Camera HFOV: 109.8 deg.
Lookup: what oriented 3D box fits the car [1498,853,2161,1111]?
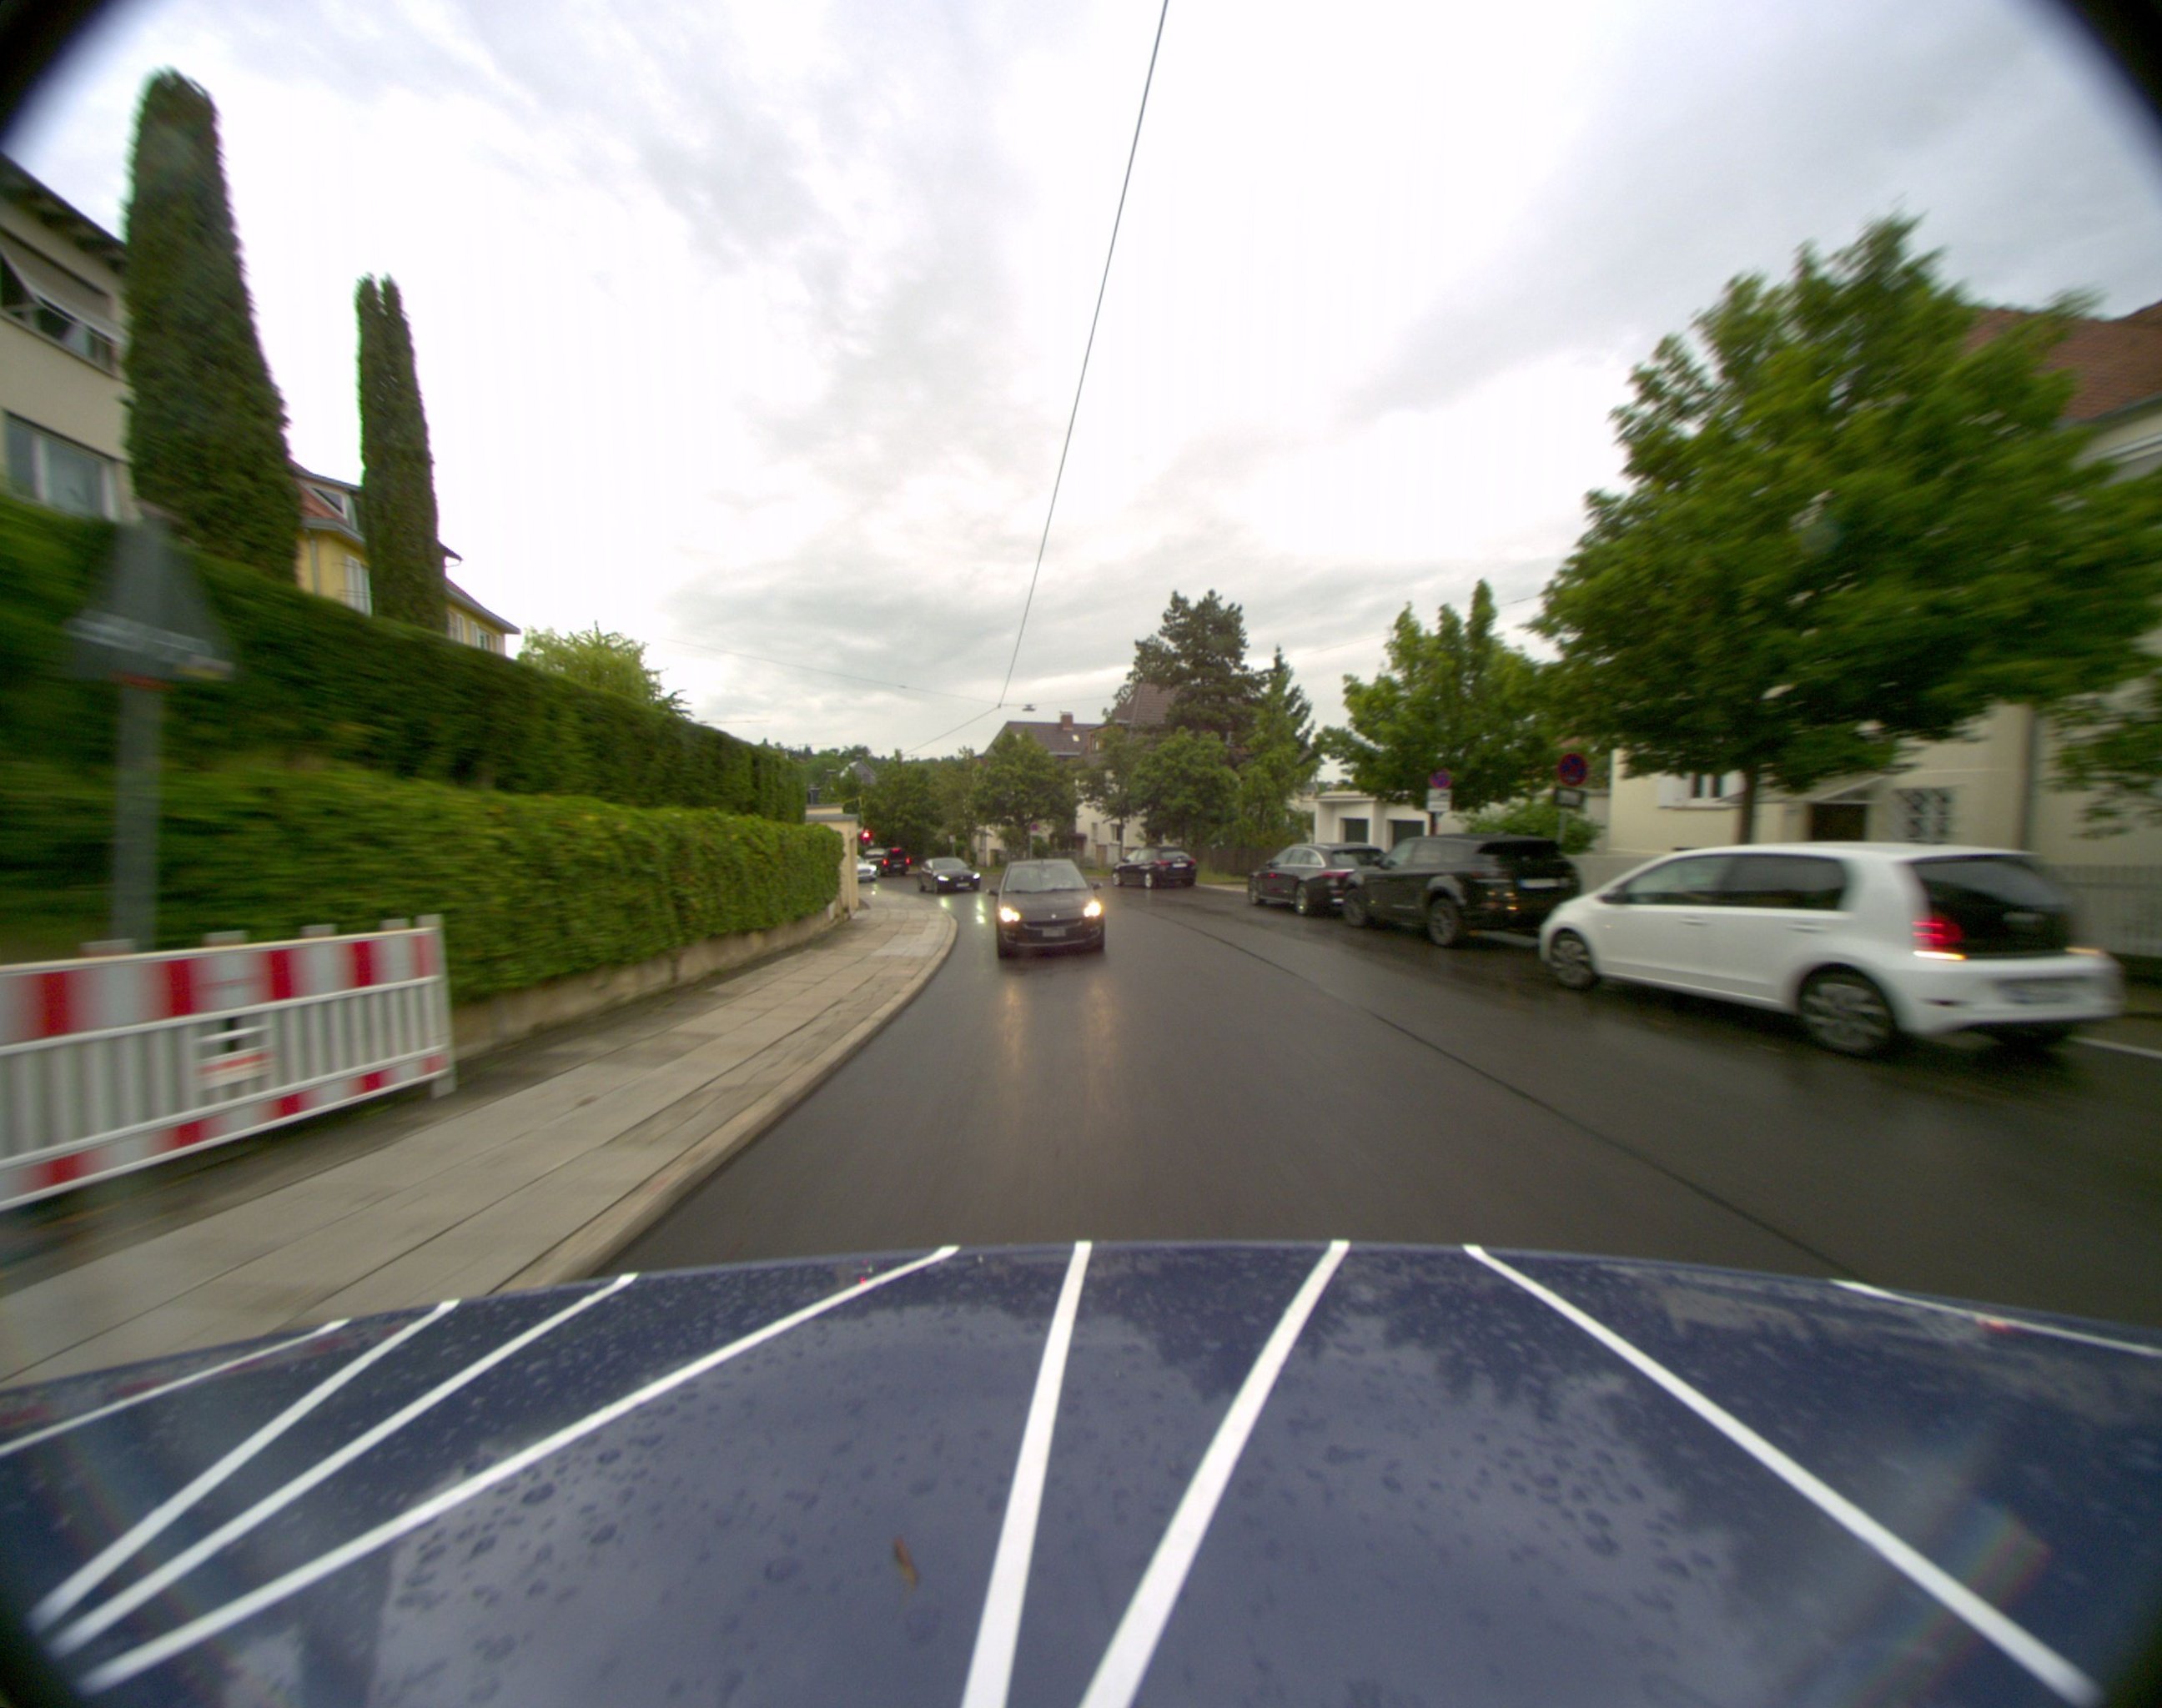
[{"bbox_3d":[5.733,0.763,6.610,1.738,1.458,3.998,-2,1,-5],"label":"car"}]

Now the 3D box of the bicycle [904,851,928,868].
[{"bbox_3d":[-13.917,0.471,63.926,2.267,1.265,0.493,-3,3,37],"label":"bicycle"}]

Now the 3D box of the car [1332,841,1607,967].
[{"bbox_3d":[5.692,0.600,11.821,1.739,1.537,4.206,-2,1,-7],"label":"car"}]

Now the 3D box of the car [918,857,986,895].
[{"bbox_3d":[-5.572,0.881,32.376,1.846,1.395,4.062,-2,1,-24],"label":"car"}]

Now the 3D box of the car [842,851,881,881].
[{"bbox_3d":[-13.719,0.697,47.305,2.003,1.699,4.566,-2,1,-20],"label":"car"}]

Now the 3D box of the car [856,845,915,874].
[{"bbox_3d":[-13.606,0.355,52.732,1.906,1.878,5.139,-2,1,-39],"label":"car"}]

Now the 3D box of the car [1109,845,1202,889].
[{"bbox_3d":[2.658,0.439,27.918,1.677,1.458,3.886,-2,1,-24],"label":"car"}]

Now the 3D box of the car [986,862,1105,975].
[{"bbox_3d":[-0.678,0.941,13.260,1.675,1.458,4.713,-1,1,-4],"label":"car"}]

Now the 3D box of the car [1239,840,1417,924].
[{"bbox_3d":[5.233,0.487,16.952,1.872,1.536,4.900,-2,1,-7],"label":"car"}]
